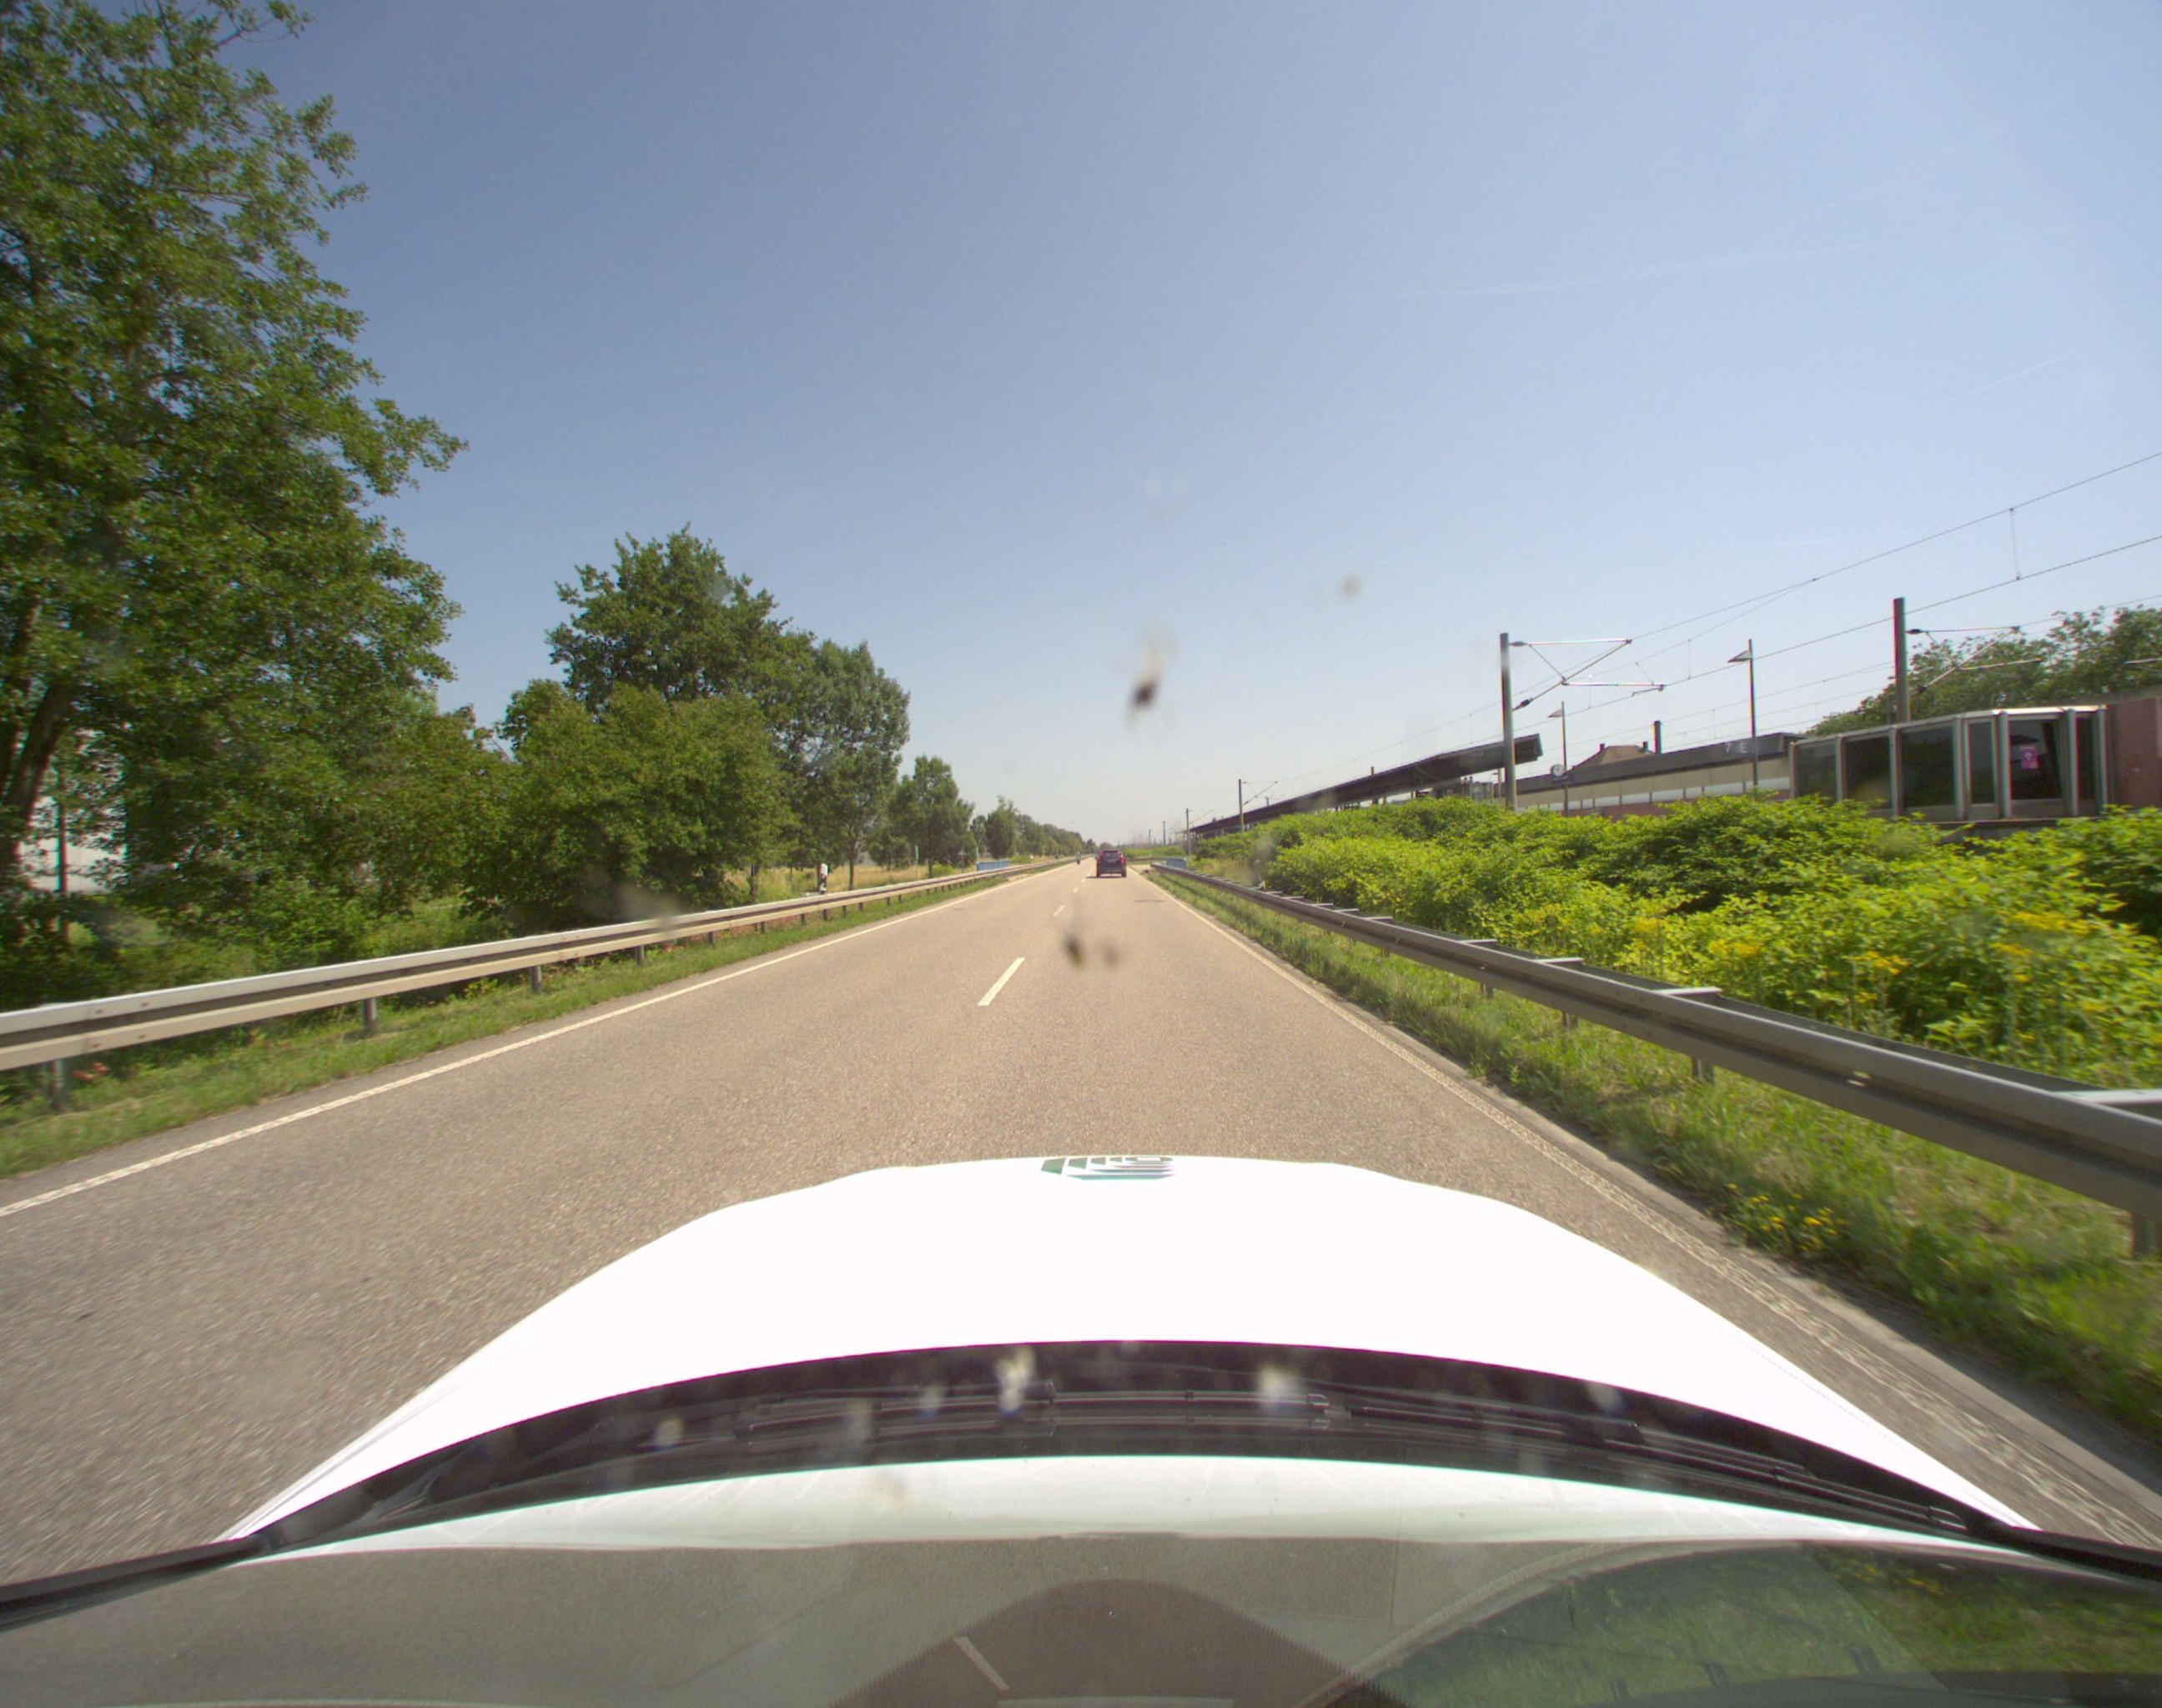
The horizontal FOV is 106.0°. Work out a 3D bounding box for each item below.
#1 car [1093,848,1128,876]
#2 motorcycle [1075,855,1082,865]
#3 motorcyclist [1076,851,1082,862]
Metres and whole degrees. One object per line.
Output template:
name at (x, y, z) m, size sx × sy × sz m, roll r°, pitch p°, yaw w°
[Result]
car at (1.809, 0.482, 51.258) m, size 1.987 × 1.700 × 3.999 m, roll -1°, pitch 0°, yaw -1°
motorcycle at (-0.312, 0.823, 109.996) m, size 0.686 × 1.234 × 2.372 m, roll -1°, pitch 0°, yaw 4°
motorcyclist at (-0.316, 0.334, 110.019) m, size 0.723 × 1.465 × 0.988 m, roll -1°, pitch 0°, yaw 4°
